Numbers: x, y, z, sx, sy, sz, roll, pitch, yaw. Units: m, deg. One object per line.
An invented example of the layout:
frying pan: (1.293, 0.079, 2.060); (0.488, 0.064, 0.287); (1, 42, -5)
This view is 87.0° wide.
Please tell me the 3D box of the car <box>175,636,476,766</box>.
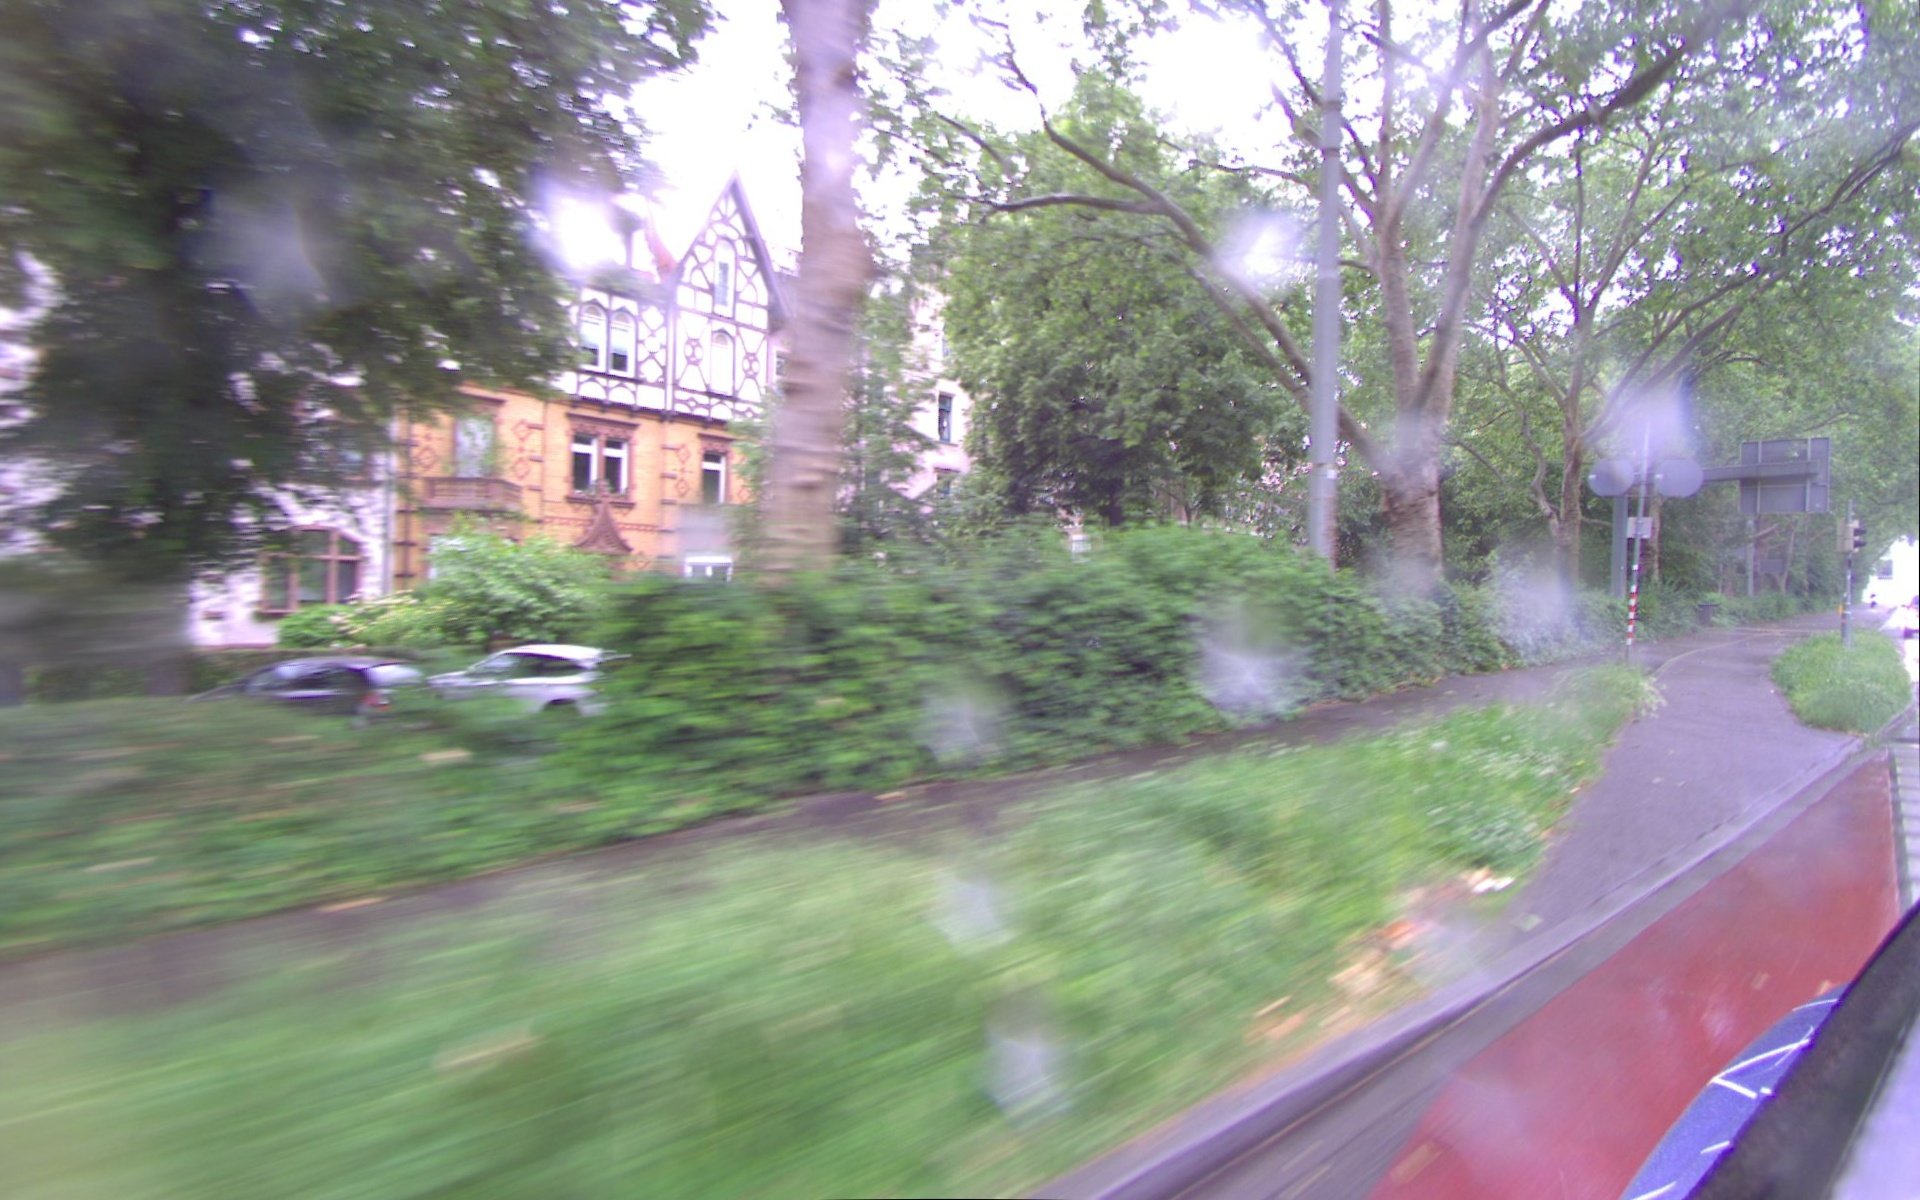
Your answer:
car: (-9.972, 1.519, 16.027); (3.743, 1.623, 1.911); (2, 1, 11)

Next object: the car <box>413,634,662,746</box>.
car: (-7.624, 1.562, 18.418); (3.743, 1.623, 1.911); (2, 1, 11)
